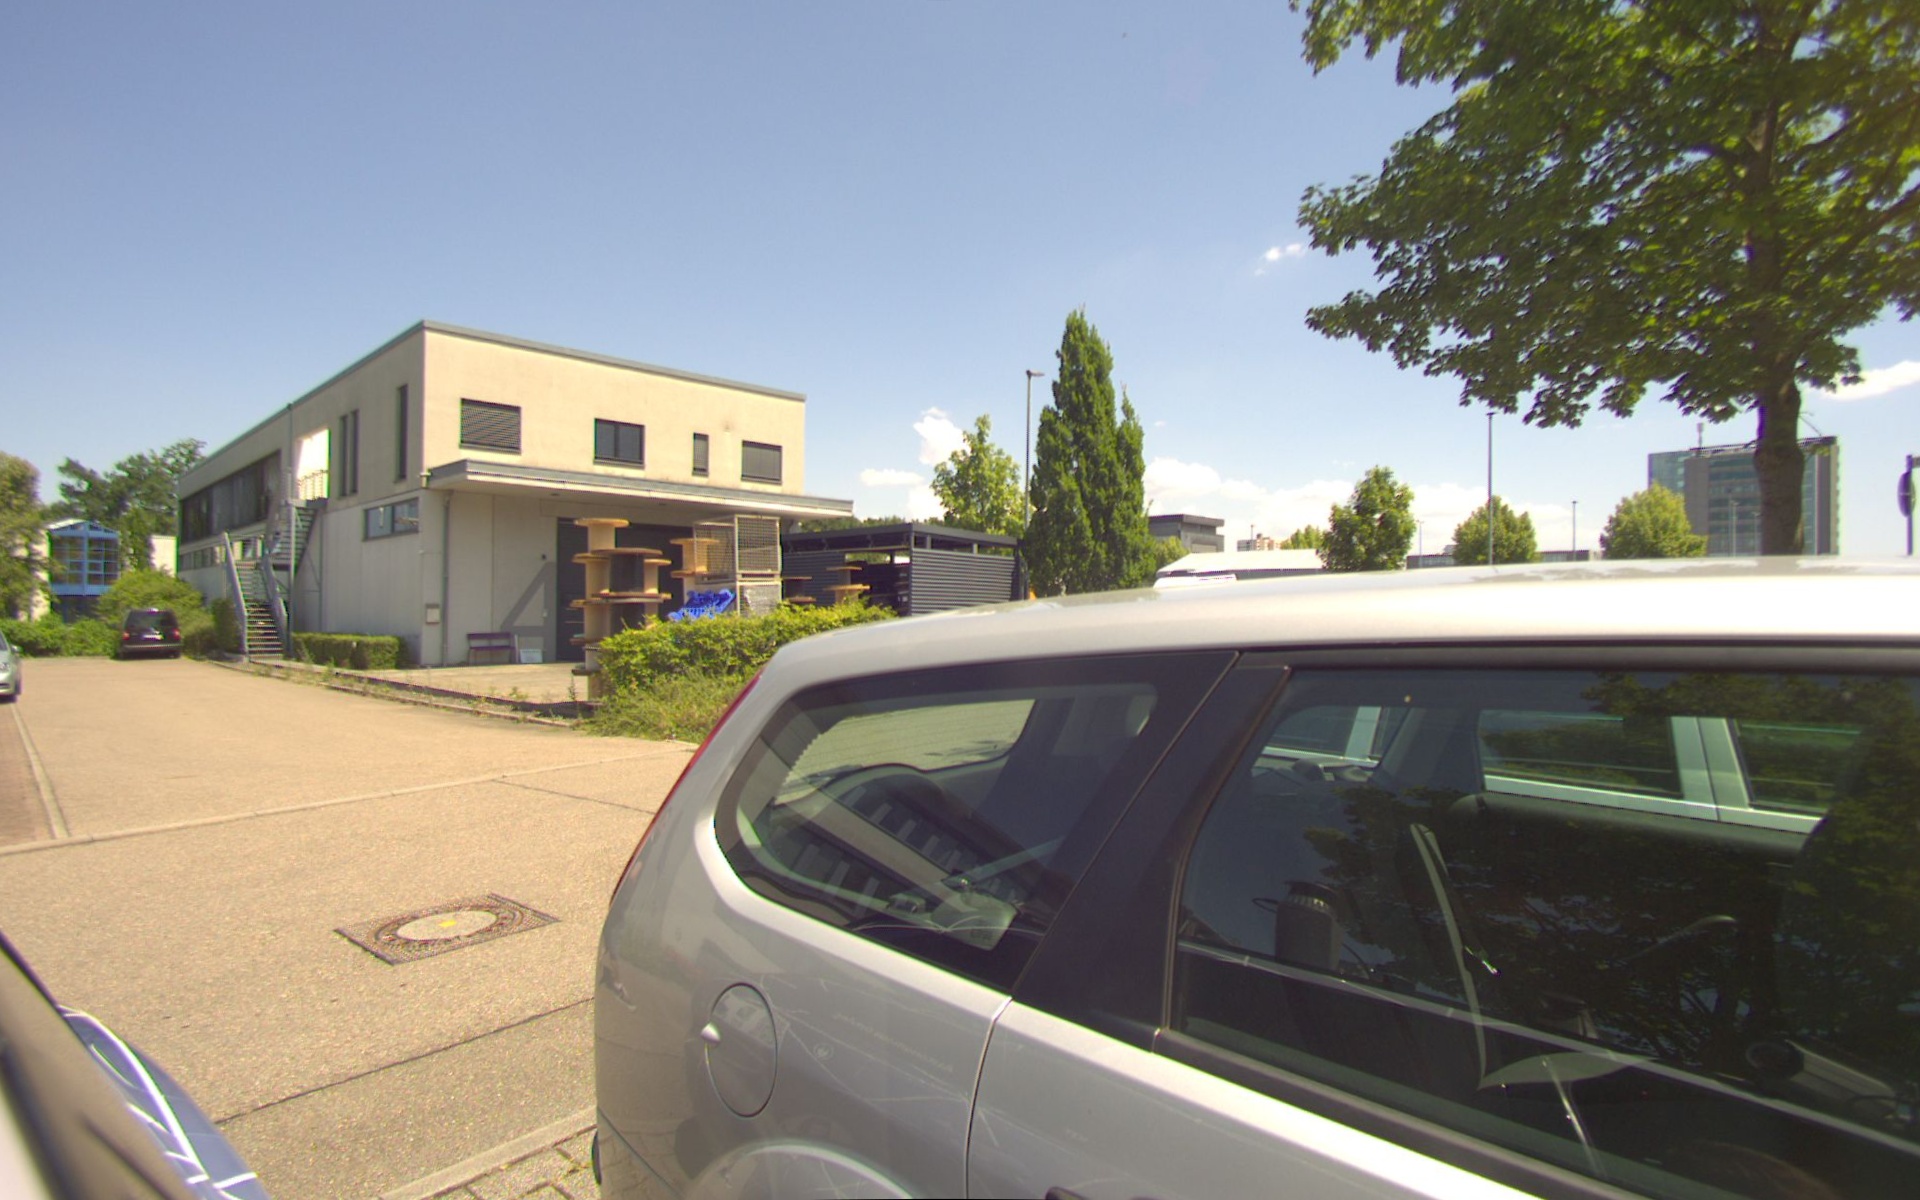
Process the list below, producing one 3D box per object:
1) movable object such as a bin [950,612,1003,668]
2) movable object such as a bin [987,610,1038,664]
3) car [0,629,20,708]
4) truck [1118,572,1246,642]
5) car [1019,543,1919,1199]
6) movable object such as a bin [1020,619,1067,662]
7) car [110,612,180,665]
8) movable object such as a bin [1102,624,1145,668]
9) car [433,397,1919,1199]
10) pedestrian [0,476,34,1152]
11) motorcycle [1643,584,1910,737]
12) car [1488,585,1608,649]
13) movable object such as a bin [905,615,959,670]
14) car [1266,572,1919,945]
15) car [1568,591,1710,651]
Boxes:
[{"bbox_3d":[0.407,0.979,25.100,1.056,1.346,0.761,-1,-1,-40],"label":"movable object such as a bin"},{"bbox_3d":[1.348,0.931,26.044,1.056,1.346,0.761,-1,-1,-40],"label":"movable object such as a bin"},{"bbox_3d":[-19.085,1.271,19.193,1.686,1.402,3.816,1,-1,-41],"label":"car"},{"bbox_3d":[9.198,0.271,41.599,5.614,2.692,2.420,-1,-1,-45],"label":"truck"},{"bbox_3d":[2.245,0.625,3.094,3.886,1.490,1.632,-1,-1,38],"label":"car"},{"bbox_3d":[2.202,1.048,26.724,0.972,1.092,0.761,-1,-1,-40],"label":"movable object such as a bin"},{"bbox_3d":[-30.055,1.375,37.283,1.761,1.817,4.004,-1,0,-43],"label":"car"},{"bbox_3d":[3.737,1.038,23.081,0.581,0.977,0.761,-1,-1,-40],"label":"movable object such as a bin"},{"bbox_3d":[1.293,0.629,0.974,4.346,1.490,1.702,-1,-1,41],"label":"car"},{"bbox_3d":[-3.173,0.587,2.666,0.858,1.834,0.894,-1,-1,33],"label":"pedestrian"},{"bbox_3d":[8.016,0.578,10.054,1.986,1.400,0.478,-2,-1,38],"label":"motorcycle"},{"bbox_3d":[17.401,0.462,29.897,3.936,1.751,1.776,-1,0,-39],"label":"car"},{"bbox_3d":[-0.672,1.008,24.323,1.056,1.280,0.761,-1,-1,-40],"label":"movable object such as a bin"},{"bbox_3d":[3.719,0.627,5.023,3.886,1.459,1.632,-1,-1,38],"label":"car"},{"bbox_3d":[18.594,0.539,27.684,3.932,1.533,1.658,-1,0,-31],"label":"car"}]
